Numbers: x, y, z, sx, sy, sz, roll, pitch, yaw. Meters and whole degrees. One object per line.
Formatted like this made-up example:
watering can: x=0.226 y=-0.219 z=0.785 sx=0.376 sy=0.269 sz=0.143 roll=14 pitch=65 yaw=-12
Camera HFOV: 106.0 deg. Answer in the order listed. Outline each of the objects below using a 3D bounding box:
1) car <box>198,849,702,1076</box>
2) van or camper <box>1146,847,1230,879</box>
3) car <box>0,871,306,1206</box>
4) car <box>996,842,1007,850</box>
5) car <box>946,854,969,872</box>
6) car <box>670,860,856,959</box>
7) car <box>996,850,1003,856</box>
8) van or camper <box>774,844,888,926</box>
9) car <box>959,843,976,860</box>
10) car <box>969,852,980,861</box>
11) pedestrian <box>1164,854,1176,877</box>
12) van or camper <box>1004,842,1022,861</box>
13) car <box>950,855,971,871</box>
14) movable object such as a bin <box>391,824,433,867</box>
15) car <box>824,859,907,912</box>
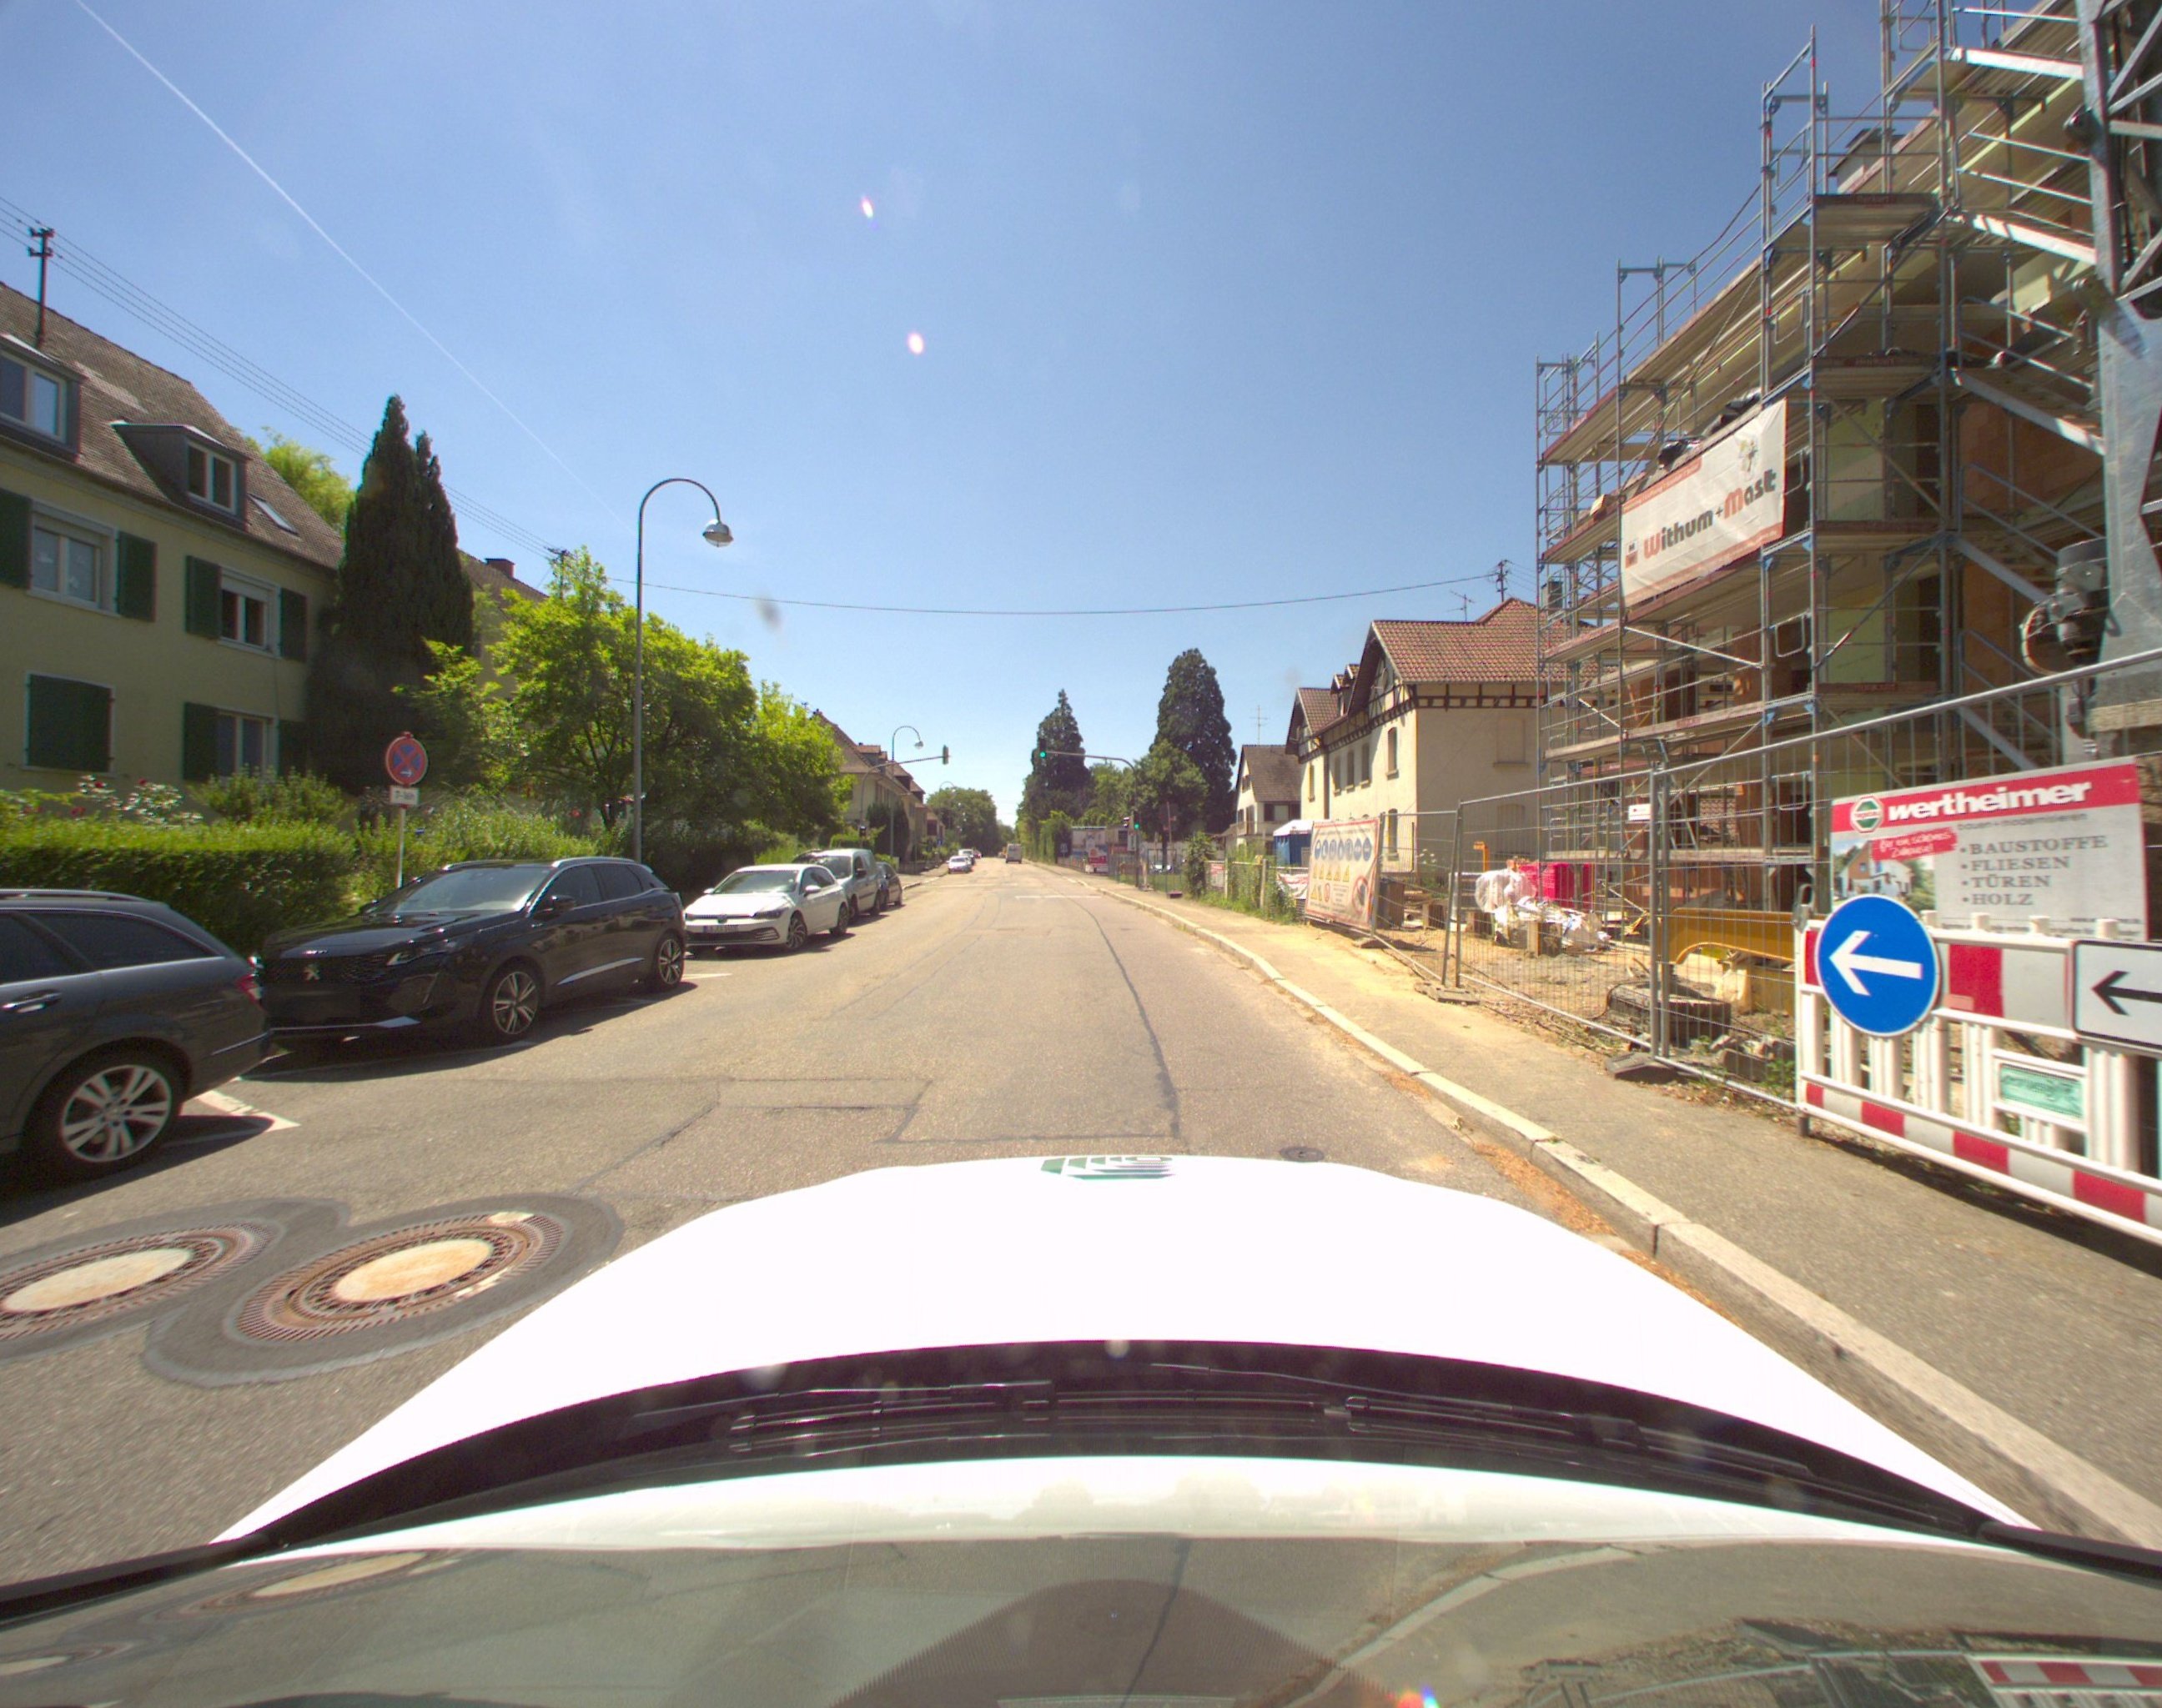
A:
car: x=-5.679 y=0.797 z=8.197 sx=1.676 sy=1.637 sz=4.329 roll=-2 pitch=0 yaw=-1
van or camper: x=7.131 y=0.627 z=54.465 sx=5.269 sy=2.013 sz=1.896 roll=1 pitch=0 yaw=-20
car: x=-5.723 y=0.871 z=2.947 sx=1.676 sy=1.476 sz=4.329 roll=-2 pitch=0 yaw=-1
car: x=-15.915 y=-1.628 z=163.375 sx=1.992 sy=1.662 sz=3.990 roll=0 pitch=0 yaw=-8
car: x=-10.376 y=0.756 z=68.545 sx=1.758 sy=1.447 sz=3.914 roll=-1 pitch=0 yaw=-8
car: x=-5.487 y=0.878 z=14.691 sx=1.676 sy=1.441 sz=4.246 roll=-2 pitch=0 yaw=-1
car: x=-23.248 y=-0.264 z=231.728 sx=1.992 sy=1.662 sz=3.990 roll=0 pitch=0 yaw=-8
van or camper: x=-6.062 y=0.689 z=20.194 sx=1.677 sy=1.804 sz=3.982 roll=-2 pitch=0 yaw=-2
car: x=-13.737 y=-0.344 z=98.369 sx=1.876 sy=1.963 sz=4.614 roll=-2 pitch=1 yaw=-7
car: x=-18.601 y=0.461 z=142.015 sx=1.812 sy=1.566 sz=3.688 roll=-1 pitch=0 yaw=-7
pedestrian: x=6.394 y=0.797 z=58.361 sx=0.694 sy=1.600 sz=0.571 roll=2 pitch=0 yaw=-7
van or camper: x=-9.020 y=-0.341 z=107.946 sx=2.259 sy=2.528 sz=4.752 roll=-1 pitch=0 yaw=-5
car: x=-10.830 y=0.791 z=73.558 sx=1.793 sy=1.402 sz=4.207 roll=-1 pitch=0 yaw=-8
movable object such as a bin: x=-18.725 y=-0.237 z=22.819 sx=0.619 sy=1.196 sz=0.673 roll=0 pitch=0 yaw=-3
car: x=-6.467 y=0.907 z=24.820 sx=1.678 sy=1.412 sz=3.920 roll=-2 pitch=0 yaw=-4
